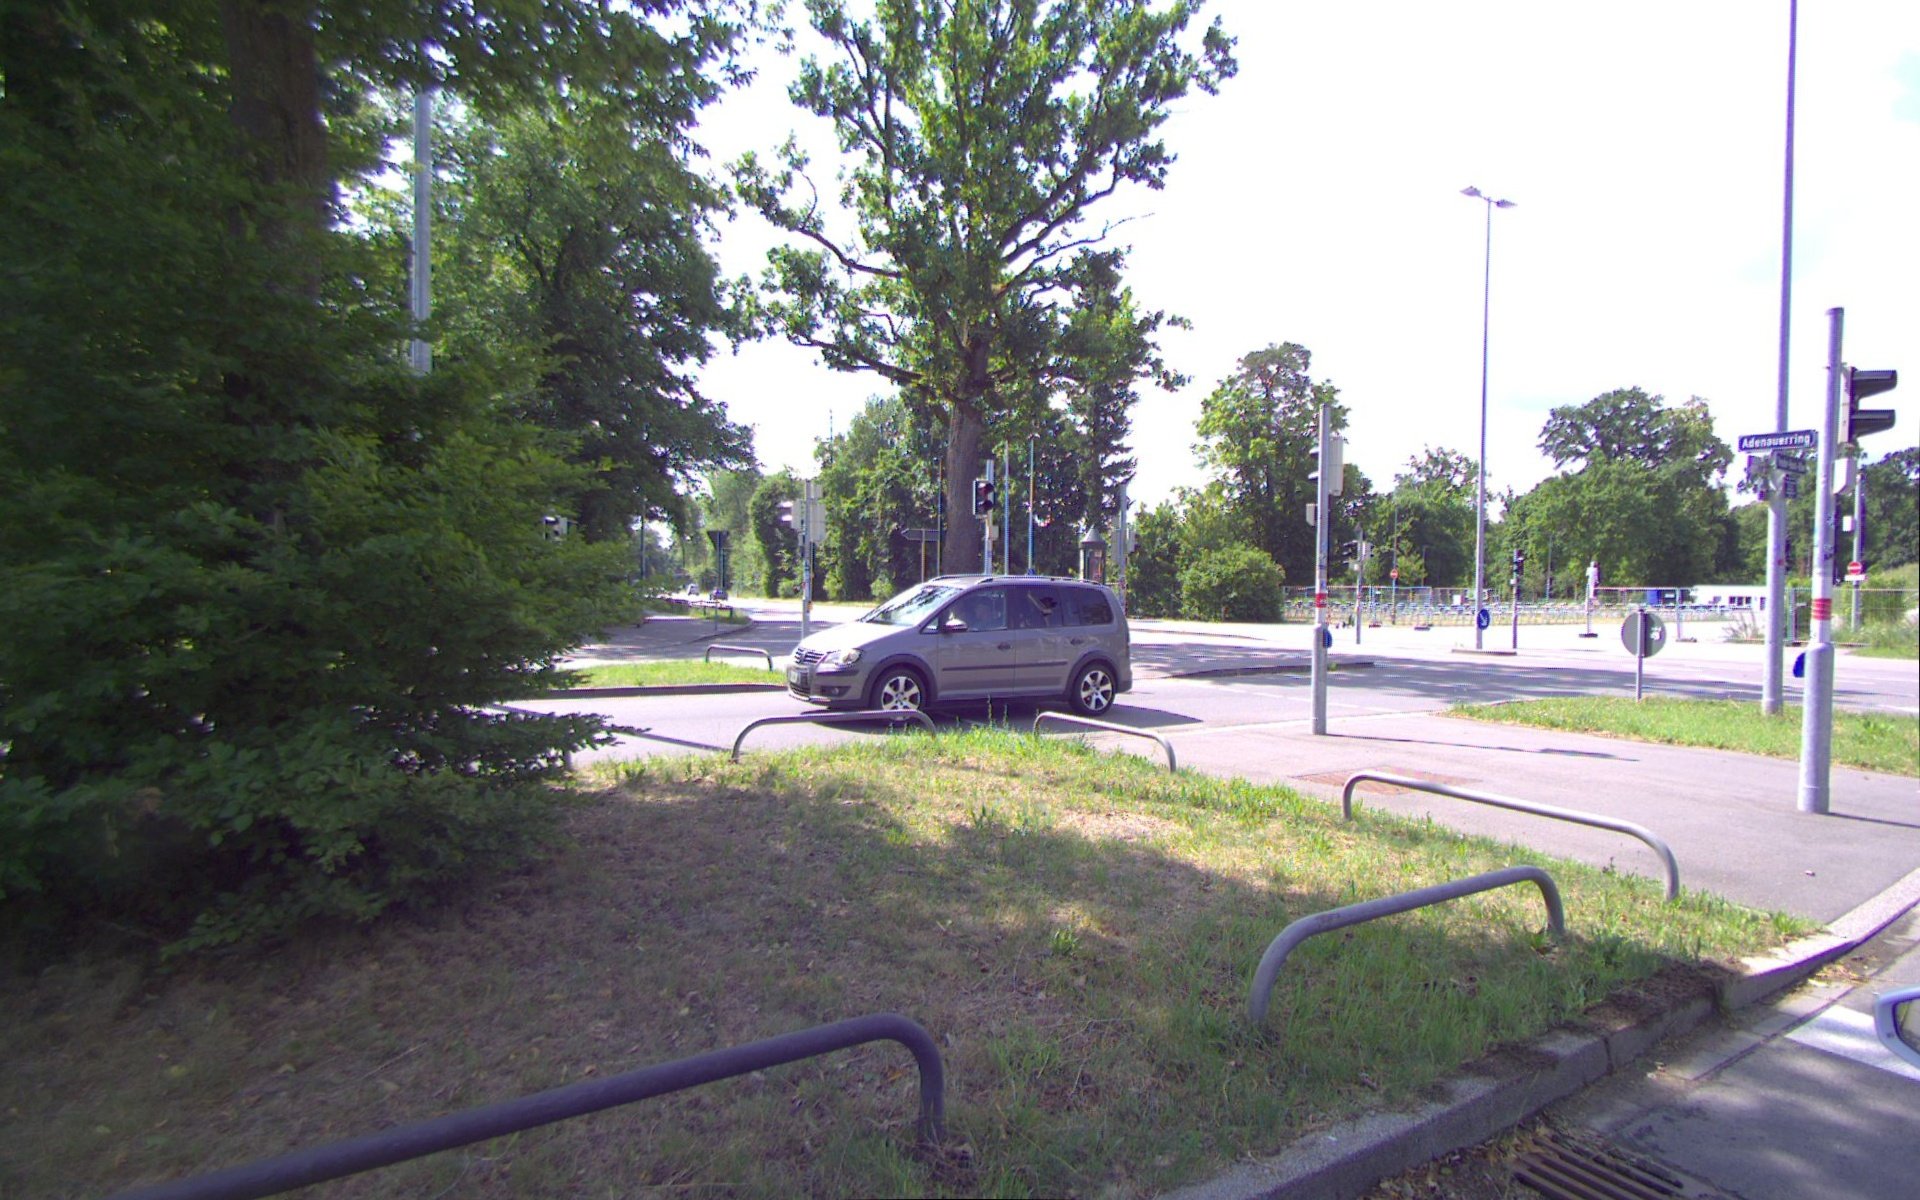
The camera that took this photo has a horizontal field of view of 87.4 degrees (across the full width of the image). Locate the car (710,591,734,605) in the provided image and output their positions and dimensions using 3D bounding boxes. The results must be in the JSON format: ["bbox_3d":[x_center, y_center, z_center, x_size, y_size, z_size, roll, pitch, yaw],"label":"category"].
[{"bbox_3d":[-27.451,-0.275,115.590,1.848,1.529,4.020,2,0,-26],"label":"car"}]

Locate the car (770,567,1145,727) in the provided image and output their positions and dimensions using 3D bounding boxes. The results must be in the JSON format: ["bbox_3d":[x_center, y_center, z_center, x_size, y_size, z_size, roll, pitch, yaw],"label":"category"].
[{"bbox_3d":[0.024,0.483,12.194,4.248,1.652,1.753,0,1,-30],"label":"car"}]

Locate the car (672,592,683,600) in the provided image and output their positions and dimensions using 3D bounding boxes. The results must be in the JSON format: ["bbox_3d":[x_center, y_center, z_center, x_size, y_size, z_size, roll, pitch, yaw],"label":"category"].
[{"bbox_3d":[-59.358,-0.839,211.153,1.810,1.514,4.088,2,0,-20],"label":"car"}]

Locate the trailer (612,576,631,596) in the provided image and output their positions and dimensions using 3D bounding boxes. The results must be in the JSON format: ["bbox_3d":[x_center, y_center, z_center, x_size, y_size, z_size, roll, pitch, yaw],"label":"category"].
[{"bbox_3d":[-42.394,-1.701,125.861,1.971,2.420,3.979,2,0,-22],"label":"trailer"}]

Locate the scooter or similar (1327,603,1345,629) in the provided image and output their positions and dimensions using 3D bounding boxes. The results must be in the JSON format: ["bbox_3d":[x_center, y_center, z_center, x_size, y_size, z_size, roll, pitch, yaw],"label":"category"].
[{"bbox_3d":[18.356,0.769,49.022,0.399,1.216,1.312,0,1,0],"label":"scooter or similar"}]

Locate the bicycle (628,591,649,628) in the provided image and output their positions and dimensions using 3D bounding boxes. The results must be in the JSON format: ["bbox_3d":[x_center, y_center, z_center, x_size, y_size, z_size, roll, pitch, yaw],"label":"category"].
[{"bbox_3d":[-10.557,0.303,32.976,0.413,1.189,1.228,2,0,-8],"label":"bicycle"}]

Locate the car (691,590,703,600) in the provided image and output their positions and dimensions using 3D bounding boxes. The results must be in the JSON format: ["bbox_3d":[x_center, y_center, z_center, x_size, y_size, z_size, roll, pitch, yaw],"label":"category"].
[{"bbox_3d":[-47.675,-0.928,181.834,1.689,1.714,3.698,2,0,-20],"label":"car"}]
